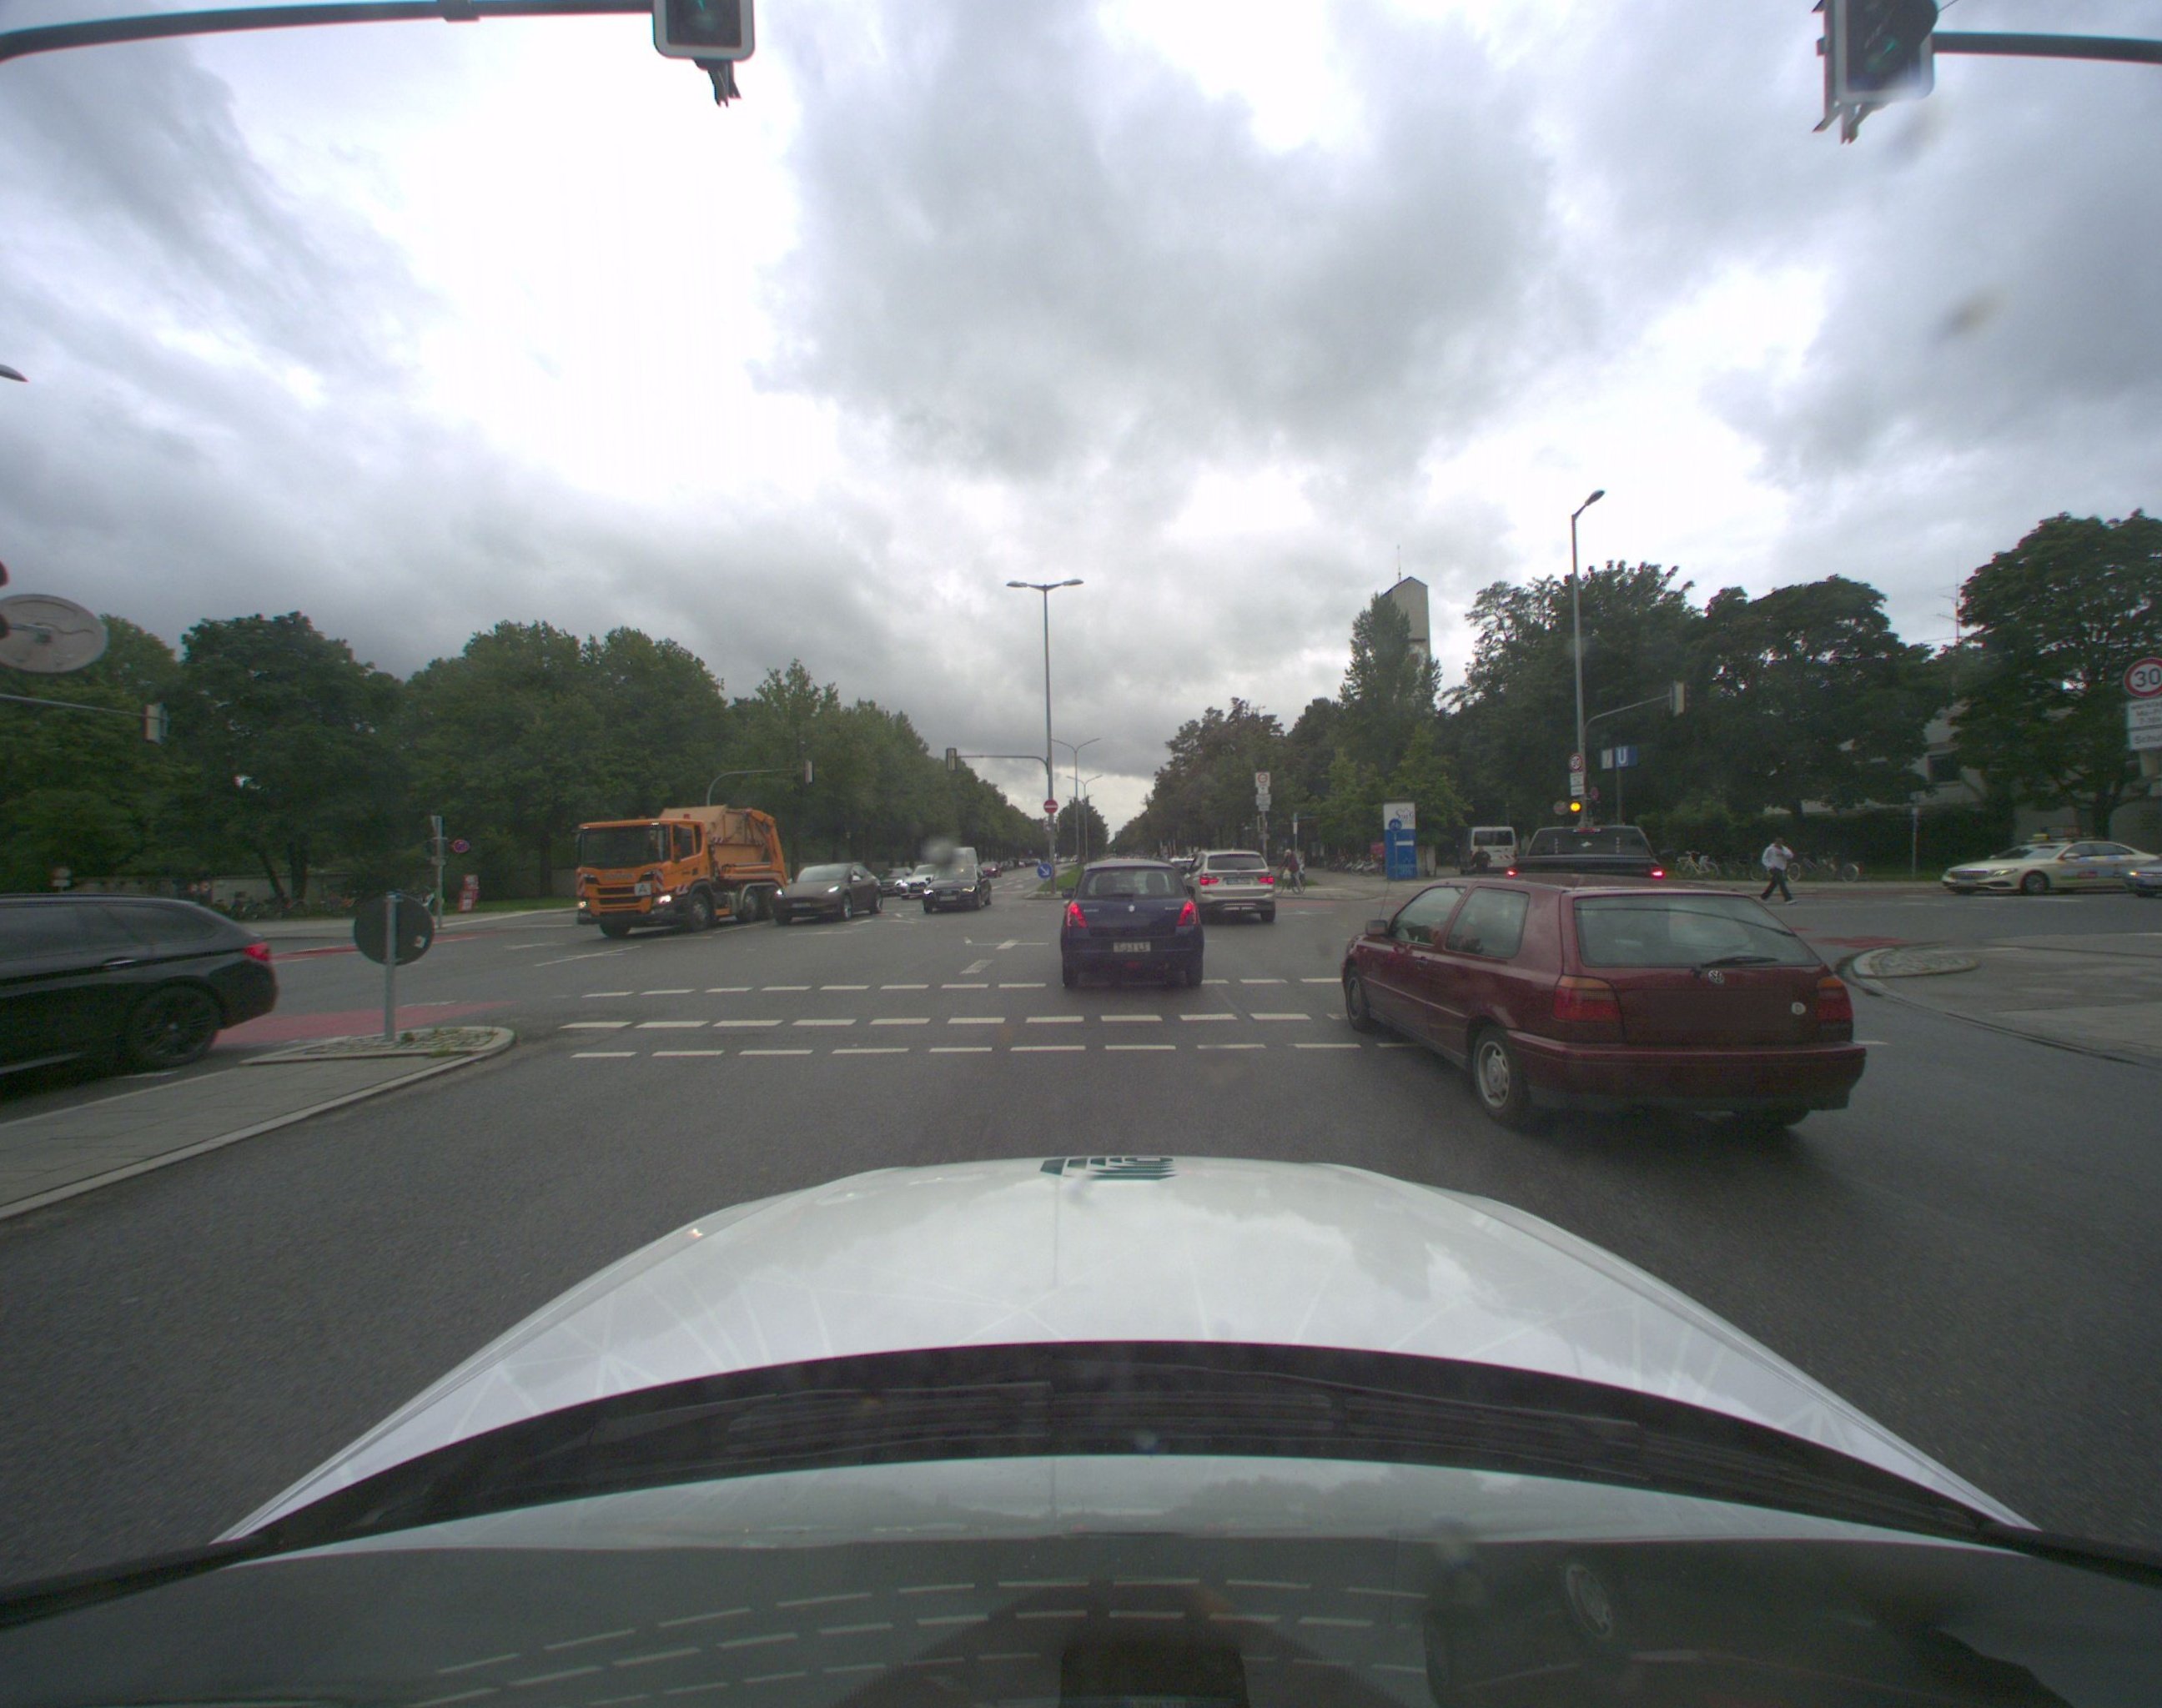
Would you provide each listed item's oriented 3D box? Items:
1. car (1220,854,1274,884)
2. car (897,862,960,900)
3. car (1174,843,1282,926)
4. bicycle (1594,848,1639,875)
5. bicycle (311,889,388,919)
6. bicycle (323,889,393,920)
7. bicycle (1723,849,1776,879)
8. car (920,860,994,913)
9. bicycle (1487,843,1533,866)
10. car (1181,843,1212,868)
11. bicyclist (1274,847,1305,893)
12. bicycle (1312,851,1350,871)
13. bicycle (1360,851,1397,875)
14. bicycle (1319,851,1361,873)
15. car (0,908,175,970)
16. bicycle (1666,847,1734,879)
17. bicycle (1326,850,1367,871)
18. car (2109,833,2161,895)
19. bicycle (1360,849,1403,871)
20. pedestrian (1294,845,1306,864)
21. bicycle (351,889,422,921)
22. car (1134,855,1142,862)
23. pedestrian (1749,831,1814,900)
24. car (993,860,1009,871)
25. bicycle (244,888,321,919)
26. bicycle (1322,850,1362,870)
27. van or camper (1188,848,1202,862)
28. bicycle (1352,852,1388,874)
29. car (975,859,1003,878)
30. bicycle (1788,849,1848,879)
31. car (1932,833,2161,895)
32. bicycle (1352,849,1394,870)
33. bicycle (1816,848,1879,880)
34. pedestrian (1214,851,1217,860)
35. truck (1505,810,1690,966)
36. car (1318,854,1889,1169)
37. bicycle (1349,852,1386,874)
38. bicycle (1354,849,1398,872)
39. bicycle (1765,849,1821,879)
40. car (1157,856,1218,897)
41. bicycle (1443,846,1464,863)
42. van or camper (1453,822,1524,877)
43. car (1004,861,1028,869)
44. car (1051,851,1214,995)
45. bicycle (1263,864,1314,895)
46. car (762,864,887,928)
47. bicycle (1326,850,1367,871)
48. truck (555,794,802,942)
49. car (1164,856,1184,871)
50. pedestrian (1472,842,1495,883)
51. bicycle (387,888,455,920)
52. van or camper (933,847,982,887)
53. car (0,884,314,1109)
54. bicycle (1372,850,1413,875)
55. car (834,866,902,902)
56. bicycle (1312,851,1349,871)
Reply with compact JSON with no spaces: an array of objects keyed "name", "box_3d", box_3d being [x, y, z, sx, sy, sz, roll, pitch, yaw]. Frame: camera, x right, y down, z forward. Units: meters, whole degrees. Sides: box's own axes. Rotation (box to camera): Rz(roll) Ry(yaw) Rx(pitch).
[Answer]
[{"name":"car","box_3d":[8.077,0.722,40.004,1.705,1.360,4.620,-1,0,0]},{"name":"car","box_3d":[-6.787,1.170,36.773,1.720,1.487,4.745,-2,0,3]},{"name":"car","box_3d":[3.421,0.669,19.689,1.844,1.743,4.097,-2,0,0]},{"name":"bicycle","box_3d":[23.958,0.347,36.487,0.693,1.153,2.131,-2,0,4]},{"name":"bicycle","box_3d":[-33.361,2.263,37.222,0.832,1.186,2.884,-2,0,1]},{"name":"bicycle","box_3d":[-31.783,2.215,35.851,0.832,1.186,2.496,-2,0,1]},{"name":"bicycle","box_3d":[26.264,0.378,32.044,0.604,1.095,2.120,-2,0,10]},{"name":"car","box_3d":[-3.785,0.959,25.460,1.633,1.487,3.782,-2,0,1]},{"name":"bicycle","box_3d":[24.808,0.050,47.125,2.330,1.157,0.529,-4,0,1]},{"name":"car","box_3d":[8.395,0.089,59.442,1.740,1.724,4.909,-1,0,2]},{"name":"bicyclist","box_3d":[8.052,0.616,31.495,0.831,1.764,0.738,-1,-1,-34]},{"name":"bicycle","box_3d":[16.939,0.473,55.199,2.336,1.157,0.528,-4,0,-7]},{"name":"bicycle","box_3d":[15.918,0.489,43.569,1.806,1.142,0.565,-3,-1,-10]},{"name":"bicycle","box_3d":[15.801,0.504,49.744,2.330,1.157,0.585,-4,0,1]},{"name":"car","box_3d":[-30.088,2.530,24.012,4.341,1.462,1.930,-4,0,-3]},{"name":"bicycle","box_3d":[25.121,0.356,33.081,0.704,1.250,2.097,-1,0,-24]},{"name":"bicycle","box_3d":[16.832,0.414,51.603,2.330,1.157,0.529,-4,0,1]},{"name":"car","box_3d":[27.117,0.181,19.094,3.923,1.454,1.627,-2,0,0]},{"name":"bicycle","box_3d":[18.179,0.365,49.315,2.330,1.157,0.585,-4,0,1]},{"name":"pedestrian","box_3d":[17.236,0.033,64.089,0.580,1.513,0.690,-1,0,-17]},{"name":"bicycle","box_3d":[-29.600,2.171,34.789,0.832,1.186,2.496,-2,0,1]},{"name":"car","box_3d":[12.404,1.063,178.019,1.677,1.525,4.459,0,0,3]},{"name":"pedestrian","box_3d":[17.875,0.298,20.797,0.759,1.703,0.937,-2,-1,-8]},{"name":"car","box_3d":[-11.725,1.677,119.370,1.563,1.503,4.310,0,0,6]},{"name":"bicycle","box_3d":[-34.358,2.114,35.096,0.832,1.186,2.496,-2,0,1]},{"name":"bicycle","box_3d":[16.890,0.385,52.704,2.330,1.157,0.529,-4,0,1]},{"name":"van or camper","box_3d":[22.567,0.222,161.653,2.016,2.558,5.959,-2,0,2]},{"name":"bicycle","box_3d":[16.349,0.482,46.050,1.796,1.142,0.568,-3,-1,6]},{"name":"car","box_3d":[-8.264,1.299,73.600,1.736,1.452,4.659,-4,0,2]},{"name":"bicycle","box_3d":[27.675,0.361,30.614,0.604,1.095,2.120,-2,0,10]},{"name":"car","box_3d":[26.554,0.260,22.443,4.288,1.497,1.886,-2,0,-2]},{"name":"bicycle","box_3d":[18.052,0.323,50.393,2.330,1.157,0.585,-4,0,1]},{"name":"bicycle","box_3d":[28.254,0.356,30.075,0.604,1.095,2.120,-2,0,10]},{"name":"pedestrian","box_3d":[25.586,0.265,154.703,0.572,1.751,0.733,-2,-1,6]},{"name":"truck","box_3d":[8.636,0.429,13.568,2.078,2.013,5.849,-2,0,34]},{"name":"car","box_3d":[3.060,0.758,5.856,1.616,1.454,3.951,-2,0,1]},{"name":"bicycle","box_3d":[15.831,0.493,45.005,1.795,1.142,0.569,-3,-1,10]},{"name":"bicycle","box_3d":[17.622,0.386,48.675,2.330,1.157,0.585,-4,0,1]},{"name":"bicycle","box_3d":[26.919,0.367,30.836,0.604,1.095,2.121,-2,0,11]},{"name":"car","box_3d":[4.094,0.844,31.955,1.844,1.447,4.097,-2,0,0]},{"name":"bicycle","box_3d":[26.367,0.030,57.642,0.525,1.157,2.349,-4,0,5]},{"name":"van or camper","box_3d":[18.905,-0.188,38.029,2.124,2.296,6.229,-2,0,19]},{"name":"car","box_3d":[-11.800,2.037,147.981,4.015,1.354,1.831,-2,0,-33]},{"name":"car","box_3d":[0.594,0.774,11.104,1.783,1.555,4.000,-2,0,0]},{"name":"bicycle","box_3d":[8.023,0.971,31.462,1.955,1.081,0.740,-1,-1,-34]},{"name":"car","box_3d":[-7.107,1.088,23.133,1.855,1.542,4.752,-2,0,2]},{"name":"bicycle","box_3d":[16.993,0.422,52.151,2.330,1.157,0.529,-4,0,1]},{"name":"truck","box_3d":[-10.616,0.354,22.546,2.768,3.356,7.274,-1,-1,4]},{"name":"car","box_3d":[9.524,0.945,83.656,1.711,1.508,4.225,-2,0,2]},{"name":"pedestrian","box_3d":[15.499,0.336,31.357,0.684,1.538,0.741,-2,-1,21]},{"name":"bicycle","box_3d":[-28.226,2.113,34.912,0.832,1.186,2.496,-2,0,1]},{"name":"van or camper","box_3d":[-8.814,0.892,58.927,2.170,2.646,6.953,-4,0,1]},{"name":"car","box_3d":[-8.365,1.070,5.328,1.920,1.462,4.899,-4,0,1]},{"name":"bicycle","box_3d":[16.421,0.436,42.981,1.939,1.212,0.565,-3,-1,-10]},{"name":"car","box_3d":[-9.641,1.333,37.208,1.716,1.416,4.218,-4,0,3]},{"name":"bicycle","box_3d":[17.207,0.472,56.108,2.330,1.157,0.529,-4,0,1]}]
